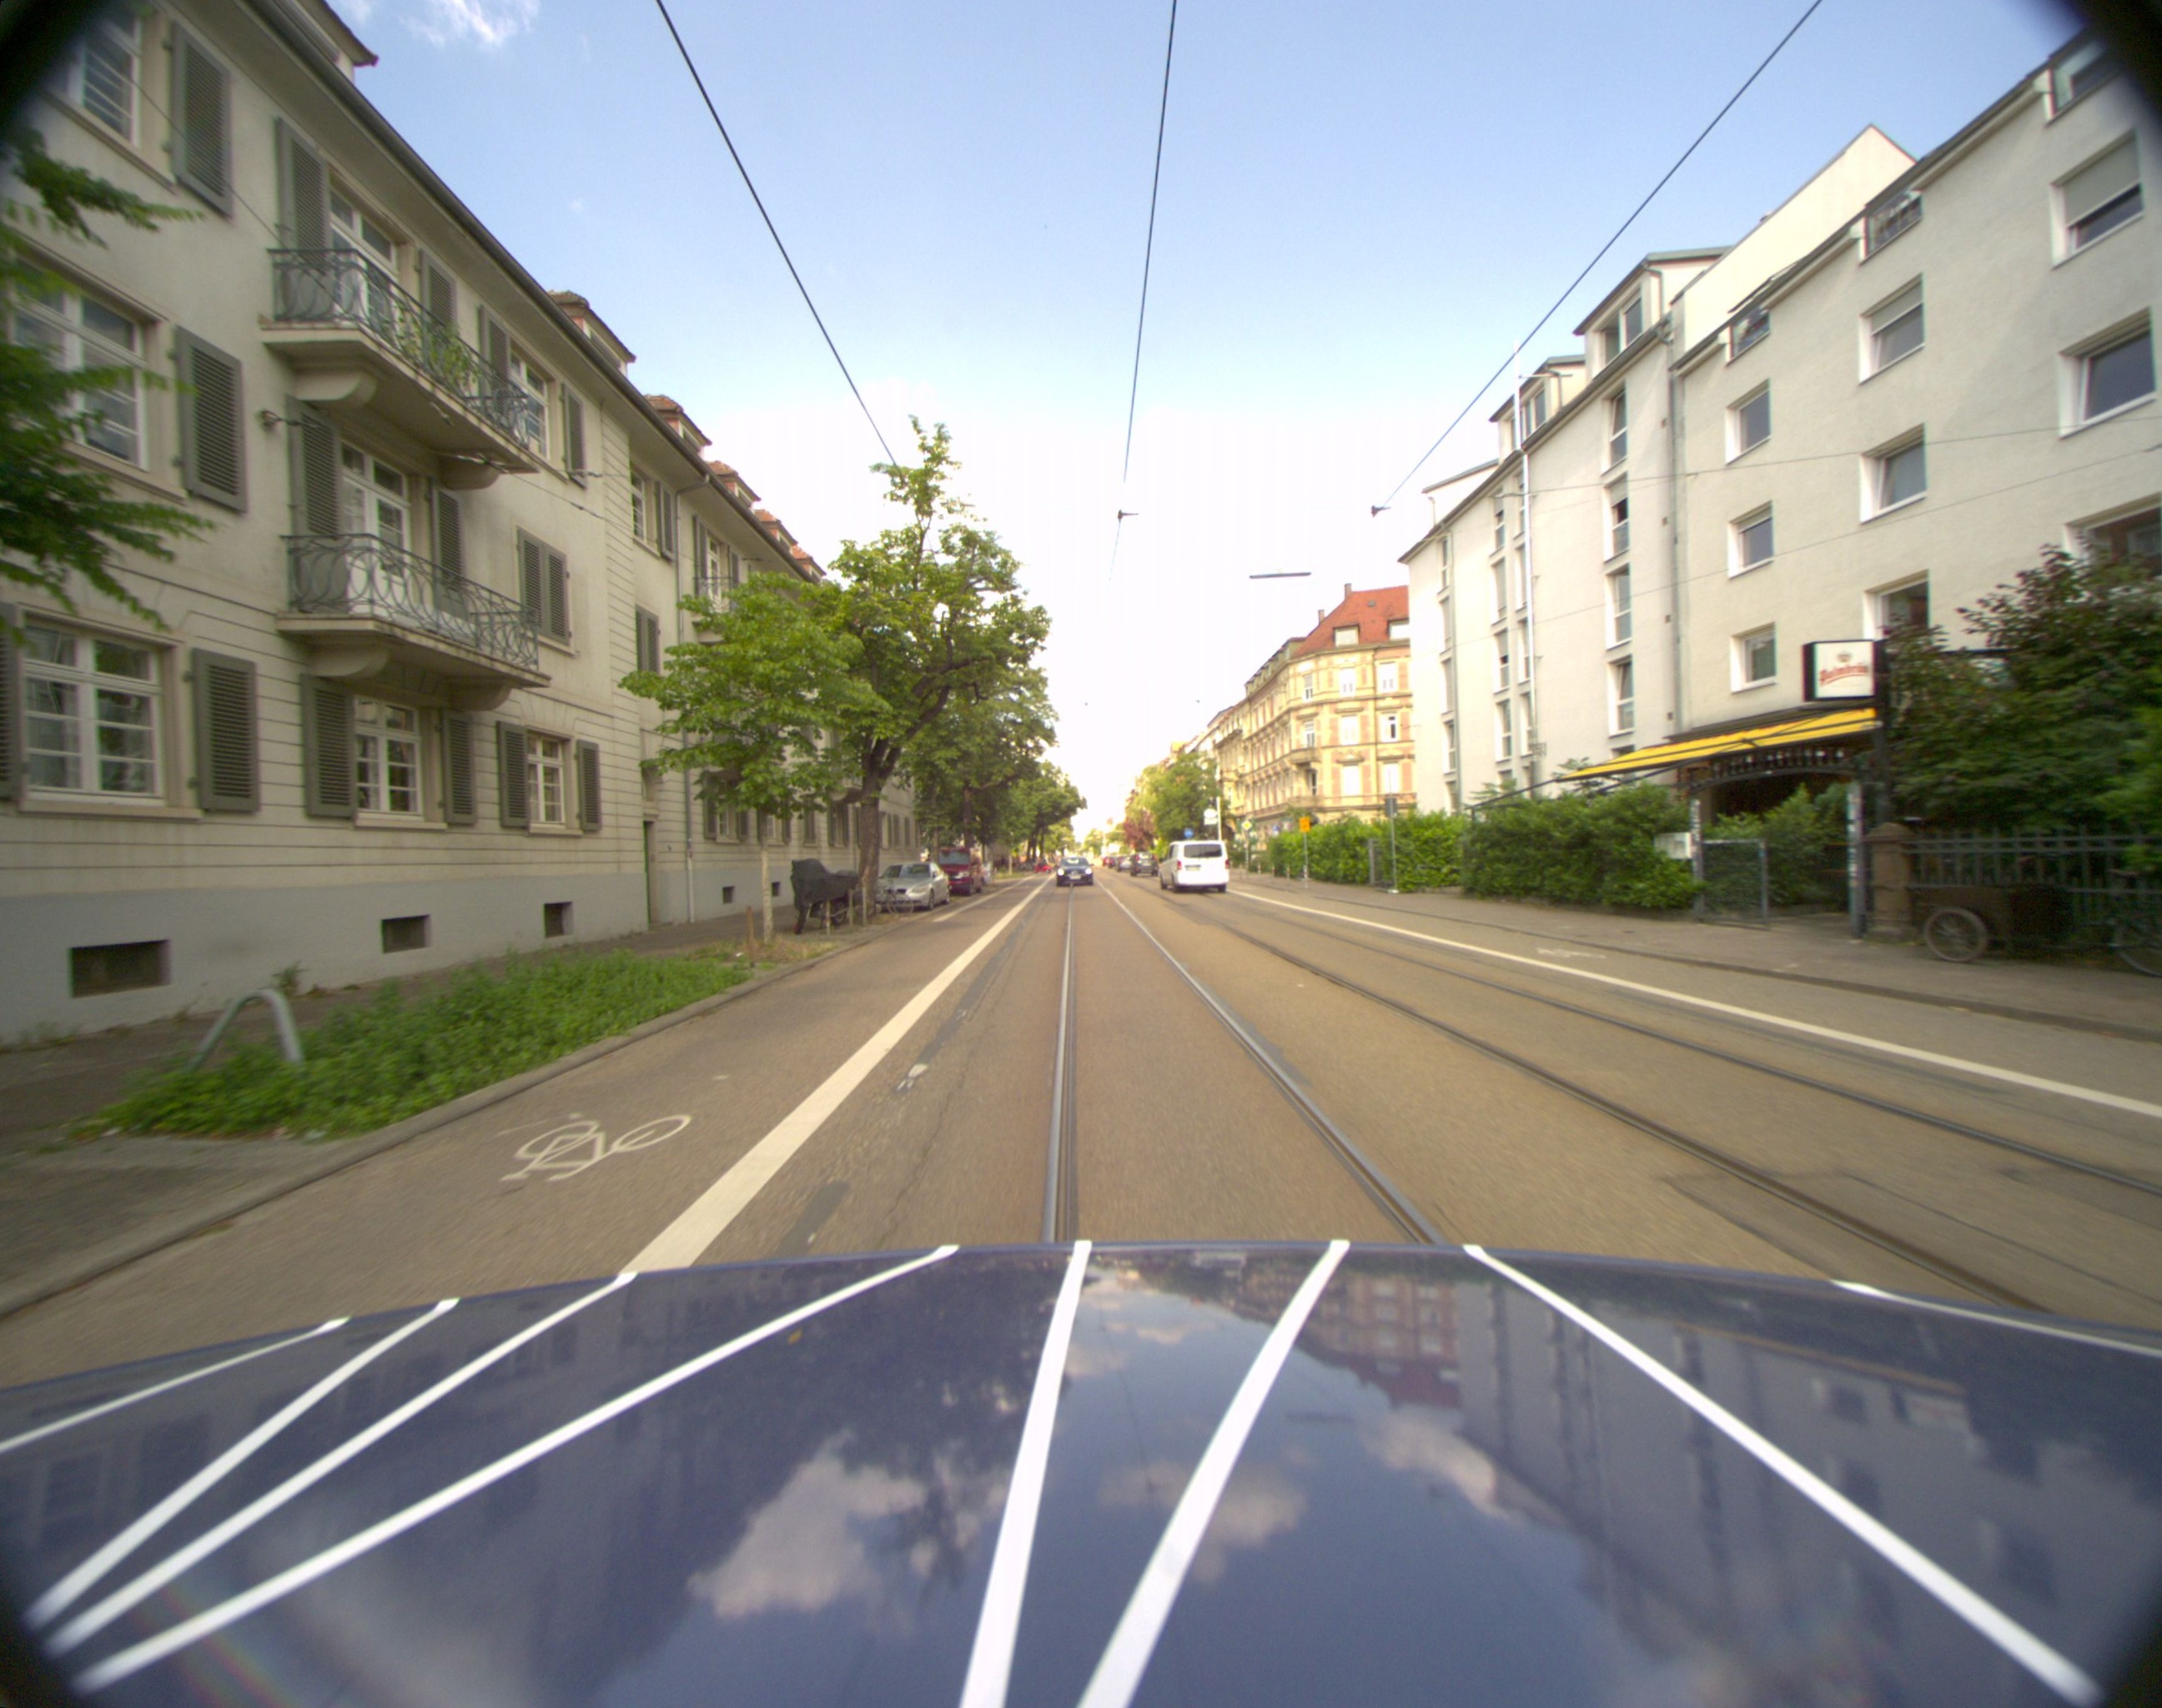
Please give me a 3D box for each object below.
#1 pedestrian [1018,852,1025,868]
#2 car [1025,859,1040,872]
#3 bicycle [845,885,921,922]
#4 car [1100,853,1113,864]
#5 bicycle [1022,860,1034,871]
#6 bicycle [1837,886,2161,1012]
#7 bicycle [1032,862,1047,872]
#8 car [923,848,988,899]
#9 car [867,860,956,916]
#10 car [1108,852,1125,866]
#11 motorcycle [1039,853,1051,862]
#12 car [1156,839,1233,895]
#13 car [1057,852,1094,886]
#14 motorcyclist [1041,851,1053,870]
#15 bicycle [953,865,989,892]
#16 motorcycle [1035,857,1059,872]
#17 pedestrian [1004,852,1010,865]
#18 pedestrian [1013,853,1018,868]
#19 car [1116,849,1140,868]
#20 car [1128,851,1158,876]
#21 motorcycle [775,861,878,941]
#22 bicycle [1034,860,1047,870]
[{"bbox_3d":[-7.234,0.724,92.084,0.755,1.878,0.886,-2,0,-1],"label":"pedestrian"},{"bbox_3d":[-5.808,1.385,91.221,1.589,1.436,3.898,-2,0,-1],"label":"car"},{"bbox_3d":[-5.208,1.294,20.030,1.780,0.897,0.692,-2,0,2],"label":"bicycle"},{"bbox_3d":[3.363,0.575,99.694,1.598,1.432,3.936,-1,0,1],"label":"car"},{"bbox_3d":[-5.691,1.232,81.385,1.271,1.060,0.478,-2,0,-1],"label":"bicycle"},{"bbox_3d":[10.132,0.902,8.073,1.145,0.903,2.988,-5,0,0],"label":"bicycle"},{"bbox_3d":[-4.770,1.470,86.516,1.651,1.064,0.348,-2,0,3],"label":"bicycle"},{"bbox_3d":[-5.186,0.778,32.010,1.900,1.929,4.950,-2,0,-1],"label":"car"},{"bbox_3d":[-5.160,0.986,23.733,1.711,1.489,4.788,-2,0,-1],"label":"car"},{"bbox_3d":[3.941,0.565,84.652,1.632,1.399,4.129,-2,0,-1],"label":"car"},{"bbox_3d":[-6.193,0.688,131.033,0.812,1.485,2.065,-2,0,-44],"label":"motorcycle"},{"bbox_3d":[4.195,0.456,28.961,1.903,1.896,5.383,-2,0,-2],"label":"car"},{"bbox_3d":[-0.277,0.712,38.531,1.693,1.567,4.156,-2,0,0],"label":"car"},{"bbox_3d":[-3.196,0.613,71.565,0.919,1.704,0.742,-2,1,14],"label":"motorcyclist"},{"bbox_3d":[-5.241,1.149,36.213,1.614,1.196,0.589,-2,1,-3],"label":"bicycle"},{"bbox_3d":[-3.207,0.957,71.570,2.085,1.352,0.742,-2,0,14],"label":"motorcycle"},{"bbox_3d":[-9.053,0.563,92.427,0.582,1.630,0.976,-2,0,-1],"label":"pedestrian"},{"bbox_3d":[-7.980,0.820,92.059,0.506,1.841,0.687,-2,0,-1],"label":"pedestrian"},{"bbox_3d":[4.069,0.381,66.708,1.732,1.531,4.276,-1,0,-2],"label":"car"},{"bbox_3d":[4.048,0.586,50.021,1.635,1.547,3.821,-2,0,0],"label":"car"},{"bbox_3d":[-5.430,0.958,16.431,0.982,1.533,2.442,-2,0,11],"label":"motorcycle"},{"bbox_3d":[-5.055,1.373,95.539,1.490,1.213,0.518,-2,1,6],"label":"bicycle"}]
